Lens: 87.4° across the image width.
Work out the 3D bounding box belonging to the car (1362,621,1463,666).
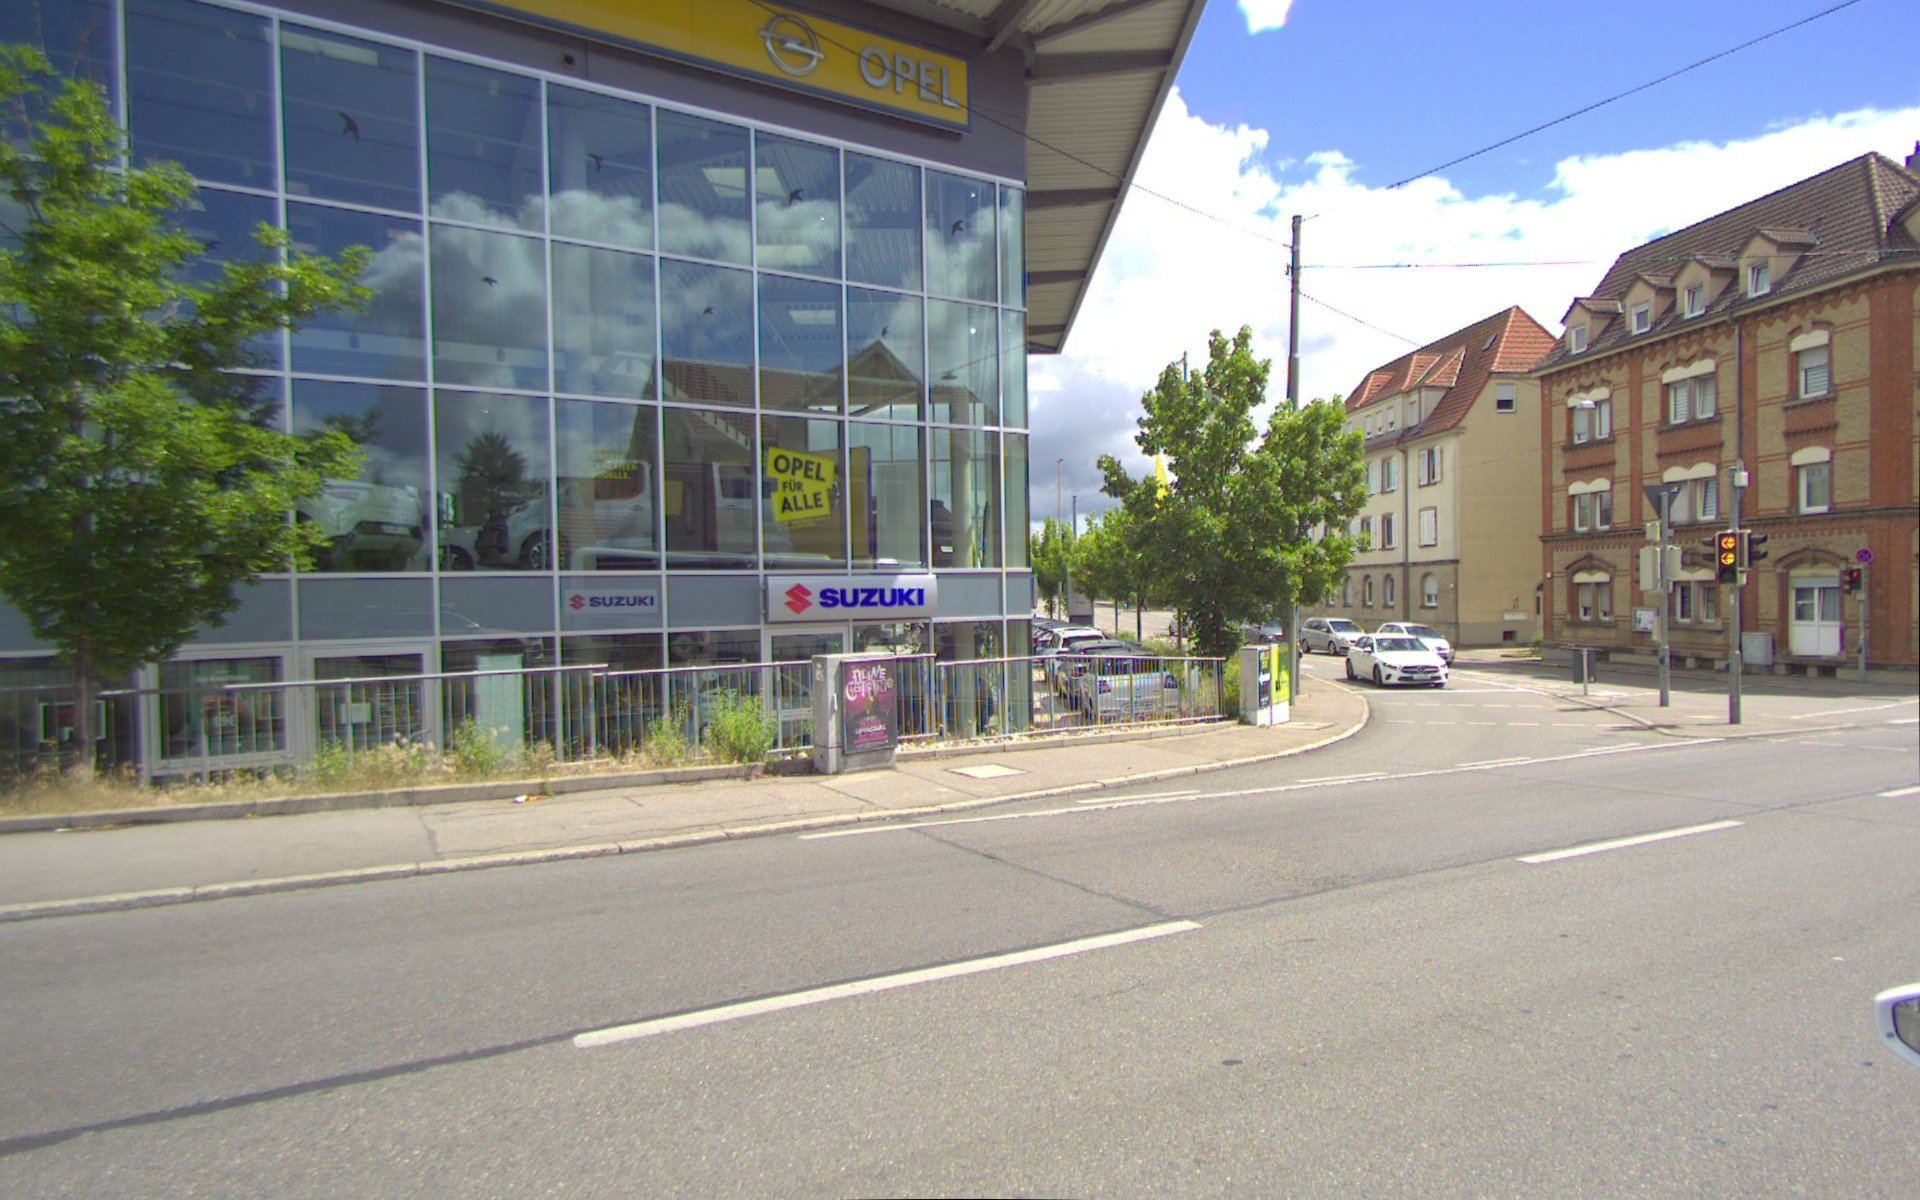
[{"bbox_3d":[17.064,1.610,38.081,1.670,1.517,3.995,1,-1,-7],"label":"car"}]

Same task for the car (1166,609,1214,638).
[{"bbox_3d":[14.613,1.480,64.044,1.908,1.743,3.998,1,-1,-4],"label":"car"}]

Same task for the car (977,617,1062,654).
[{"bbox_3d":[2.649,1.590,45.862,1.974,1.599,4.476,1,-1,-26],"label":"car"}]

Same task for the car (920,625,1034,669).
[{"bbox_3d":[0.644,1.716,37.231,3.919,1.478,1.605,1,-1,15],"label":"car"}]

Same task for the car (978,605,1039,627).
[{"bbox_3d":[3.182,1.051,66.604,3.921,1.311,1.818,1,-1,0],"label":"car"}]

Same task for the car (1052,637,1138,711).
[{"bbox_3d":[3.231,1.757,24.694,1.487,1.543,3.792,1,-1,-2],"label":"car"}]

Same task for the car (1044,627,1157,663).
[{"bbox_3d":[5.167,1.637,37.204,3.921,1.202,1.818,1,-1,0],"label":"car"}]

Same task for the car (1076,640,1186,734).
[{"bbox_3d":[3.396,1.691,20.545,1.720,1.596,3.687,2,-1,2],"label":"car"}]

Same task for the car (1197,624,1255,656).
[{"bbox_3d":[14.831,2.201,56.200,1.961,1.607,4.345,1,0,-2],"label":"car"}]

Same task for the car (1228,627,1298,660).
[{"bbox_3d":[15.334,2.188,51.013,1.963,1.539,3.996,1,-1,-7],"label":"car"}]

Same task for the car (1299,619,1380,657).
[{"bbox_3d":[16.737,1.644,44.507,1.715,1.539,3.996,1,-1,-7],"label":"car"}]

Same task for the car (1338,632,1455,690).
[{"bbox_3d":[12.370,1.686,28.768,1.825,1.466,4.394,0,-1,6],"label":"car"}]

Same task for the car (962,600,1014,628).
[{"bbox_3d":[2.192,1.088,76.920,2.201,2.040,4.927,0,-1,24],"label":"car"}]

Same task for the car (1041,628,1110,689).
[{"bbox_3d":[3.281,1.636,29.087,1.487,1.596,3.414,1,-1,-2],"label":"car"}]
